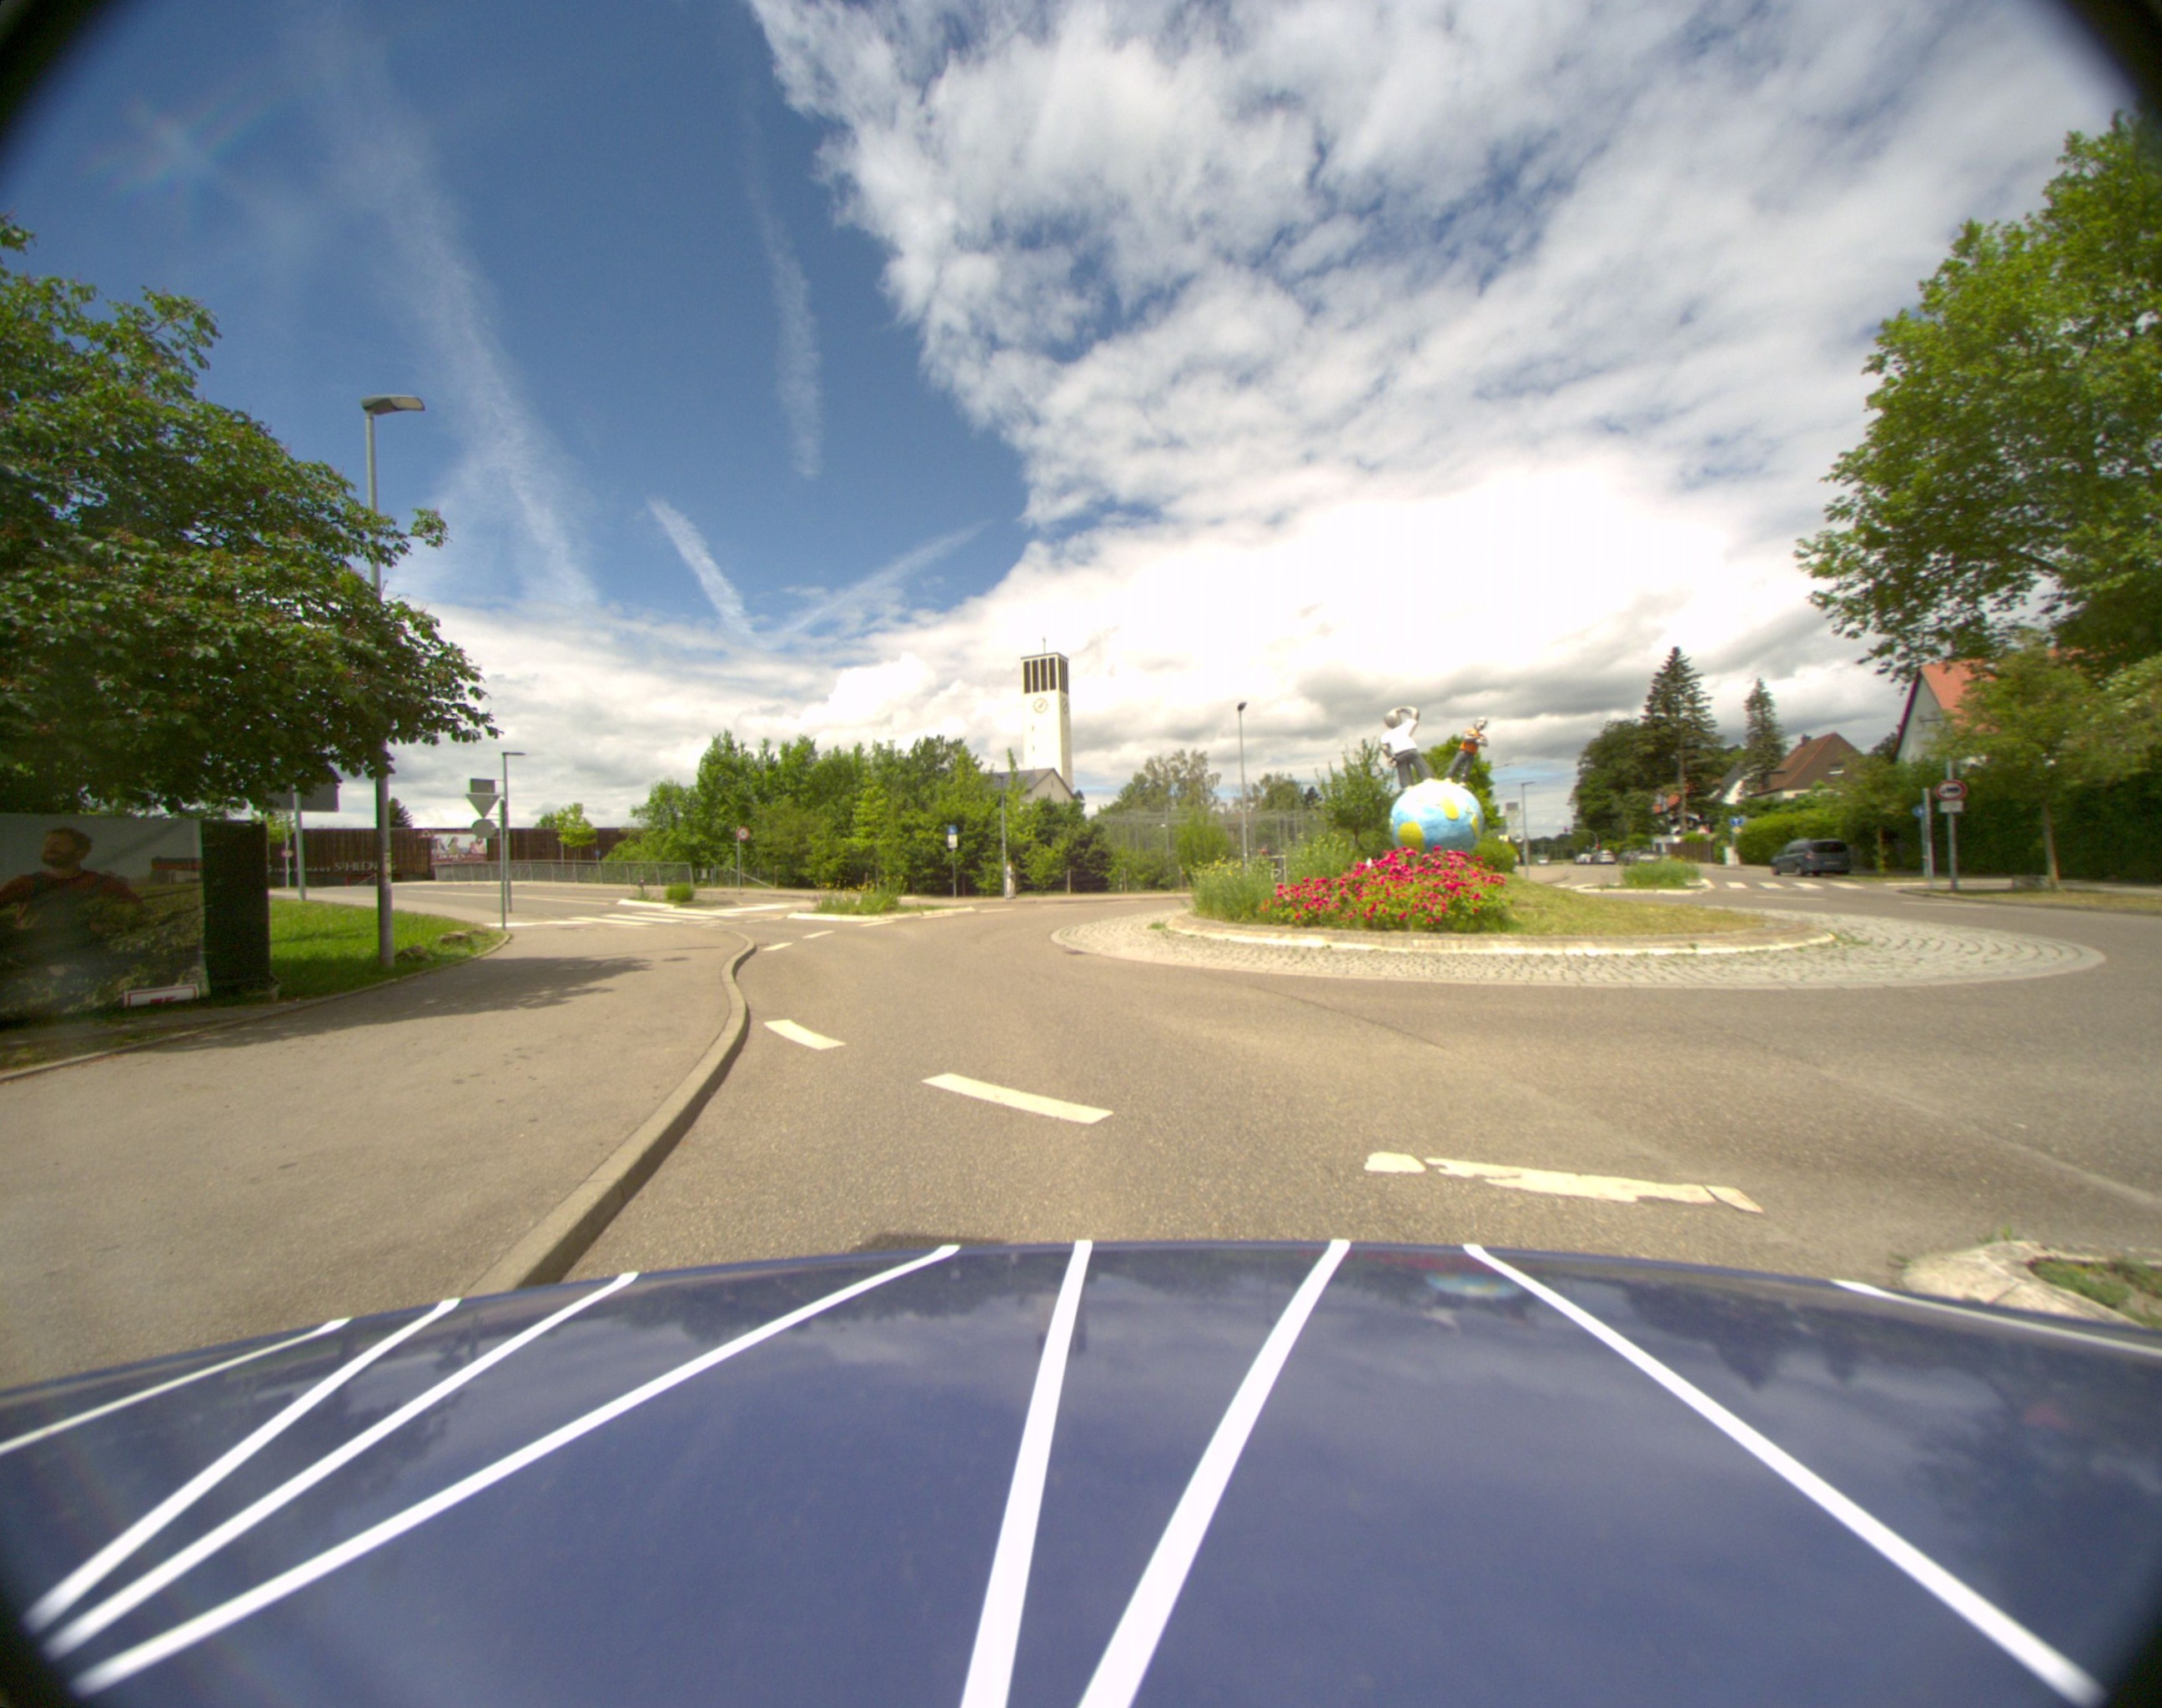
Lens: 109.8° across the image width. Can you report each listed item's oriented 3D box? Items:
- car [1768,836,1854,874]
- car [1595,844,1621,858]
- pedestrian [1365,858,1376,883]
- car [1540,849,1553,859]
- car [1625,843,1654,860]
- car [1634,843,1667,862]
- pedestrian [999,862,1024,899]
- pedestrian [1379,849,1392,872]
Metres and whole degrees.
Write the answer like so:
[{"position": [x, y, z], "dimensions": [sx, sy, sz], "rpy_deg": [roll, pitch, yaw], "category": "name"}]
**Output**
[{"position": [34.509, 0.024, 36.044], "dimensions": [1.677, 1.652, 4.006], "rpy_deg": [-2, 0, 25], "category": "car"}, {"position": [67.925, -0.398, 97.943], "dimensions": [1.995, 1.696, 4.007], "rpy_deg": [-1, 0, 24], "category": "car"}, {"position": [20.297, 1.144, 53.240], "dimensions": [0.606, 1.687, 0.568], "rpy_deg": [-3, 0, 25], "category": "pedestrian"}, {"position": [88.768, -0.016, 144.904], "dimensions": [1.995, 1.696, 4.007], "rpy_deg": [-1, 0, 29], "category": "car"}, {"position": [55.438, -0.251, 75.504], "dimensions": [1.783, 1.568, 4.007], "rpy_deg": [-3, 0, 29], "category": "car"}, {"position": [52.907, -0.165, 70.622], "dimensions": [1.859, 1.568, 4.007], "rpy_deg": [-3, 0, 29], "category": "car"}, {"position": [-2.891, 1.101, 31.858], "dimensions": [0.457, 1.524, 0.965], "rpy_deg": [-3, -1, 36], "category": "pedestrian"}, {"position": [21.351, 0.458, 53.290], "dimensions": [0.762, 1.548, 0.603], "rpy_deg": [-1, 1, 28], "category": "pedestrian"}]
